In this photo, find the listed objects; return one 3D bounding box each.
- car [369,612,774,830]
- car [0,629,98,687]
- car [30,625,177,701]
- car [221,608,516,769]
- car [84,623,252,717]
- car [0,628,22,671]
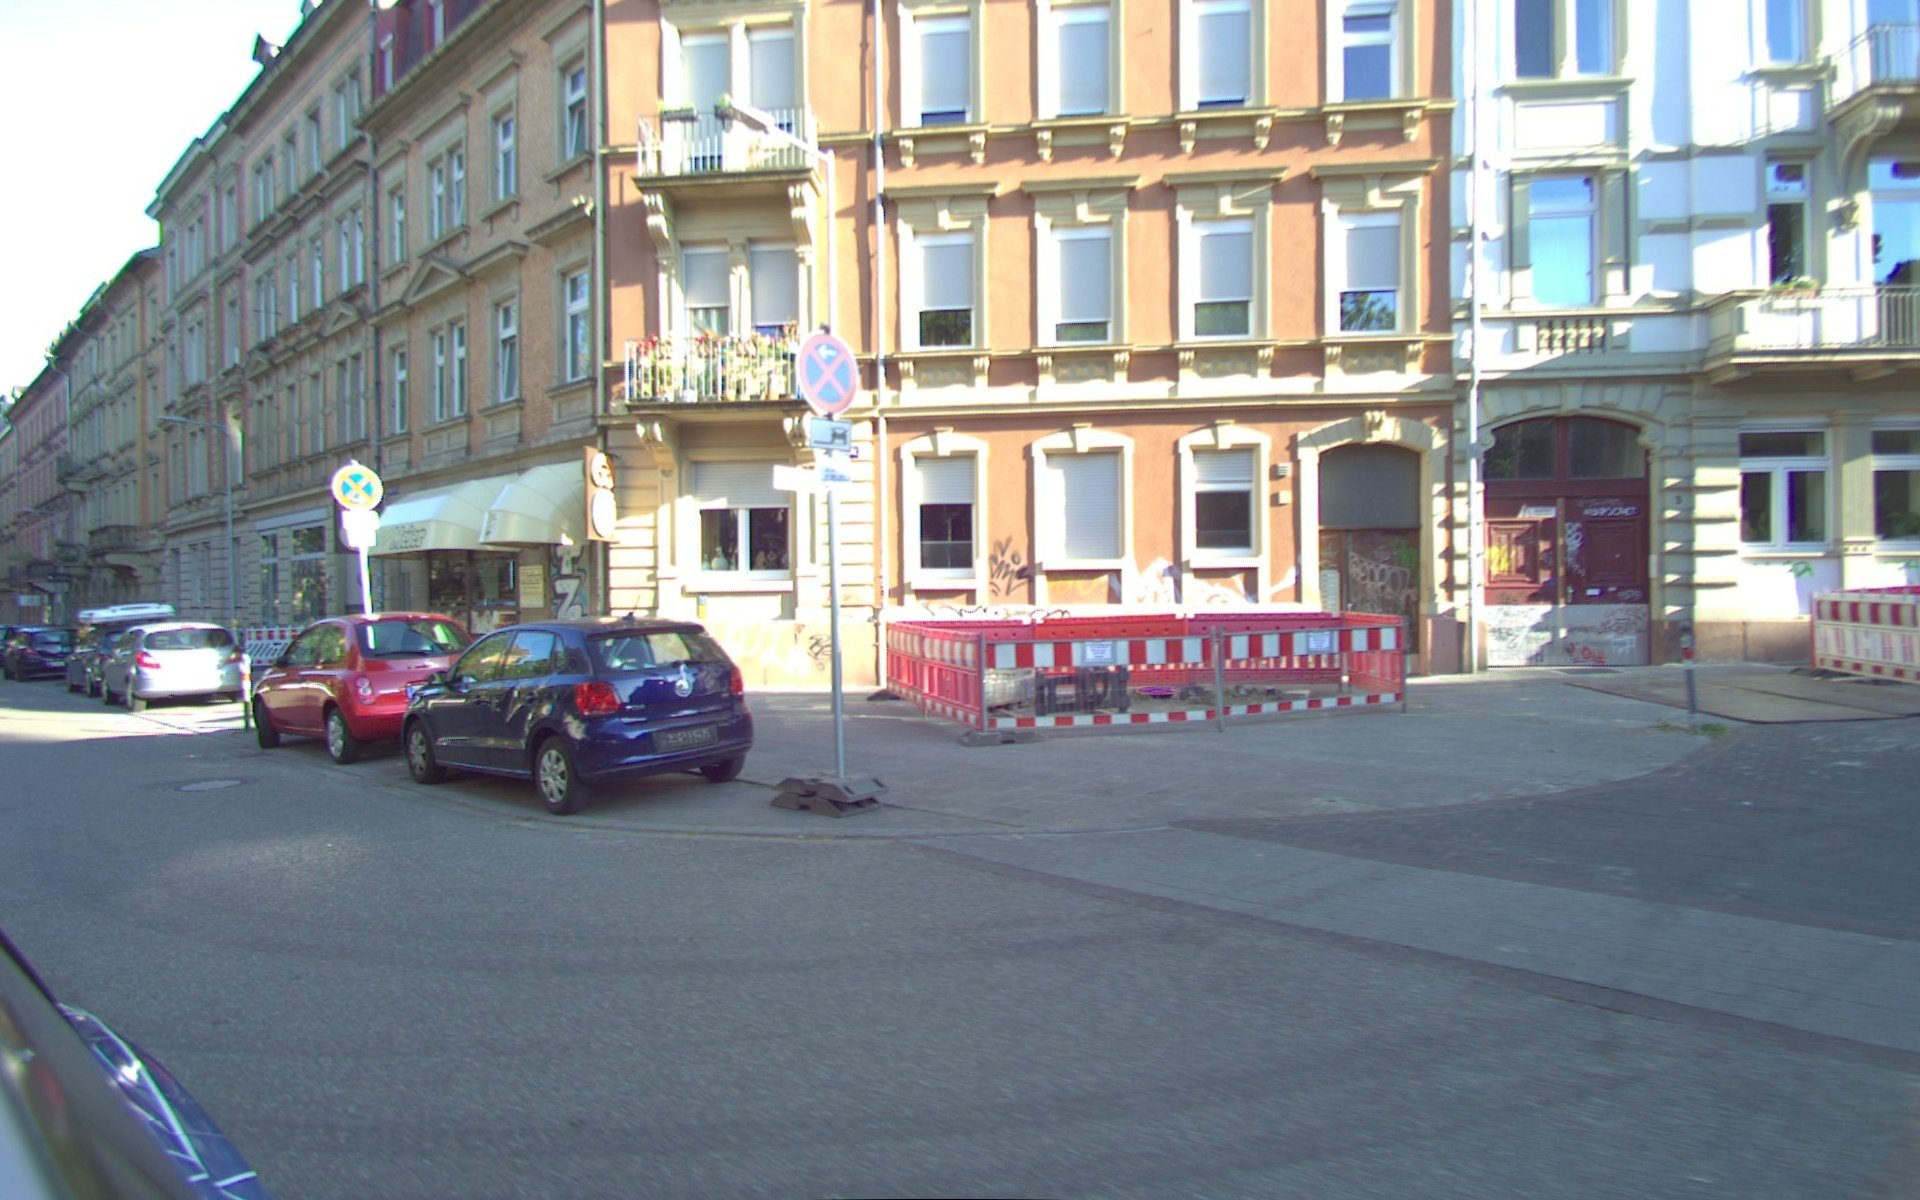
[{"bbox_3d":[-3.569,0.884,8.937,3.998,1.469,1.652,-2,0,41],"label":"car"},{"bbox_3d":[-25.938,1.598,28.650,4.017,1.465,1.686,-2,-1,40],"label":"car"},{"bbox_3d":[-18.685,1.316,22.015,4.297,1.448,1.747,-2,-1,40],"label":"car"},{"bbox_3d":[-6.981,0.912,11.795,3.995,1.542,1.653,-2,0,39],"label":"car"},{"bbox_3d":[-14.576,1.213,18.557,3.994,1.448,1.707,-2,1,42],"label":"car"},{"bbox_3d":[-36.701,1.865,38.083,3.893,1.579,1.723,-2,-1,42],"label":"car"}]
